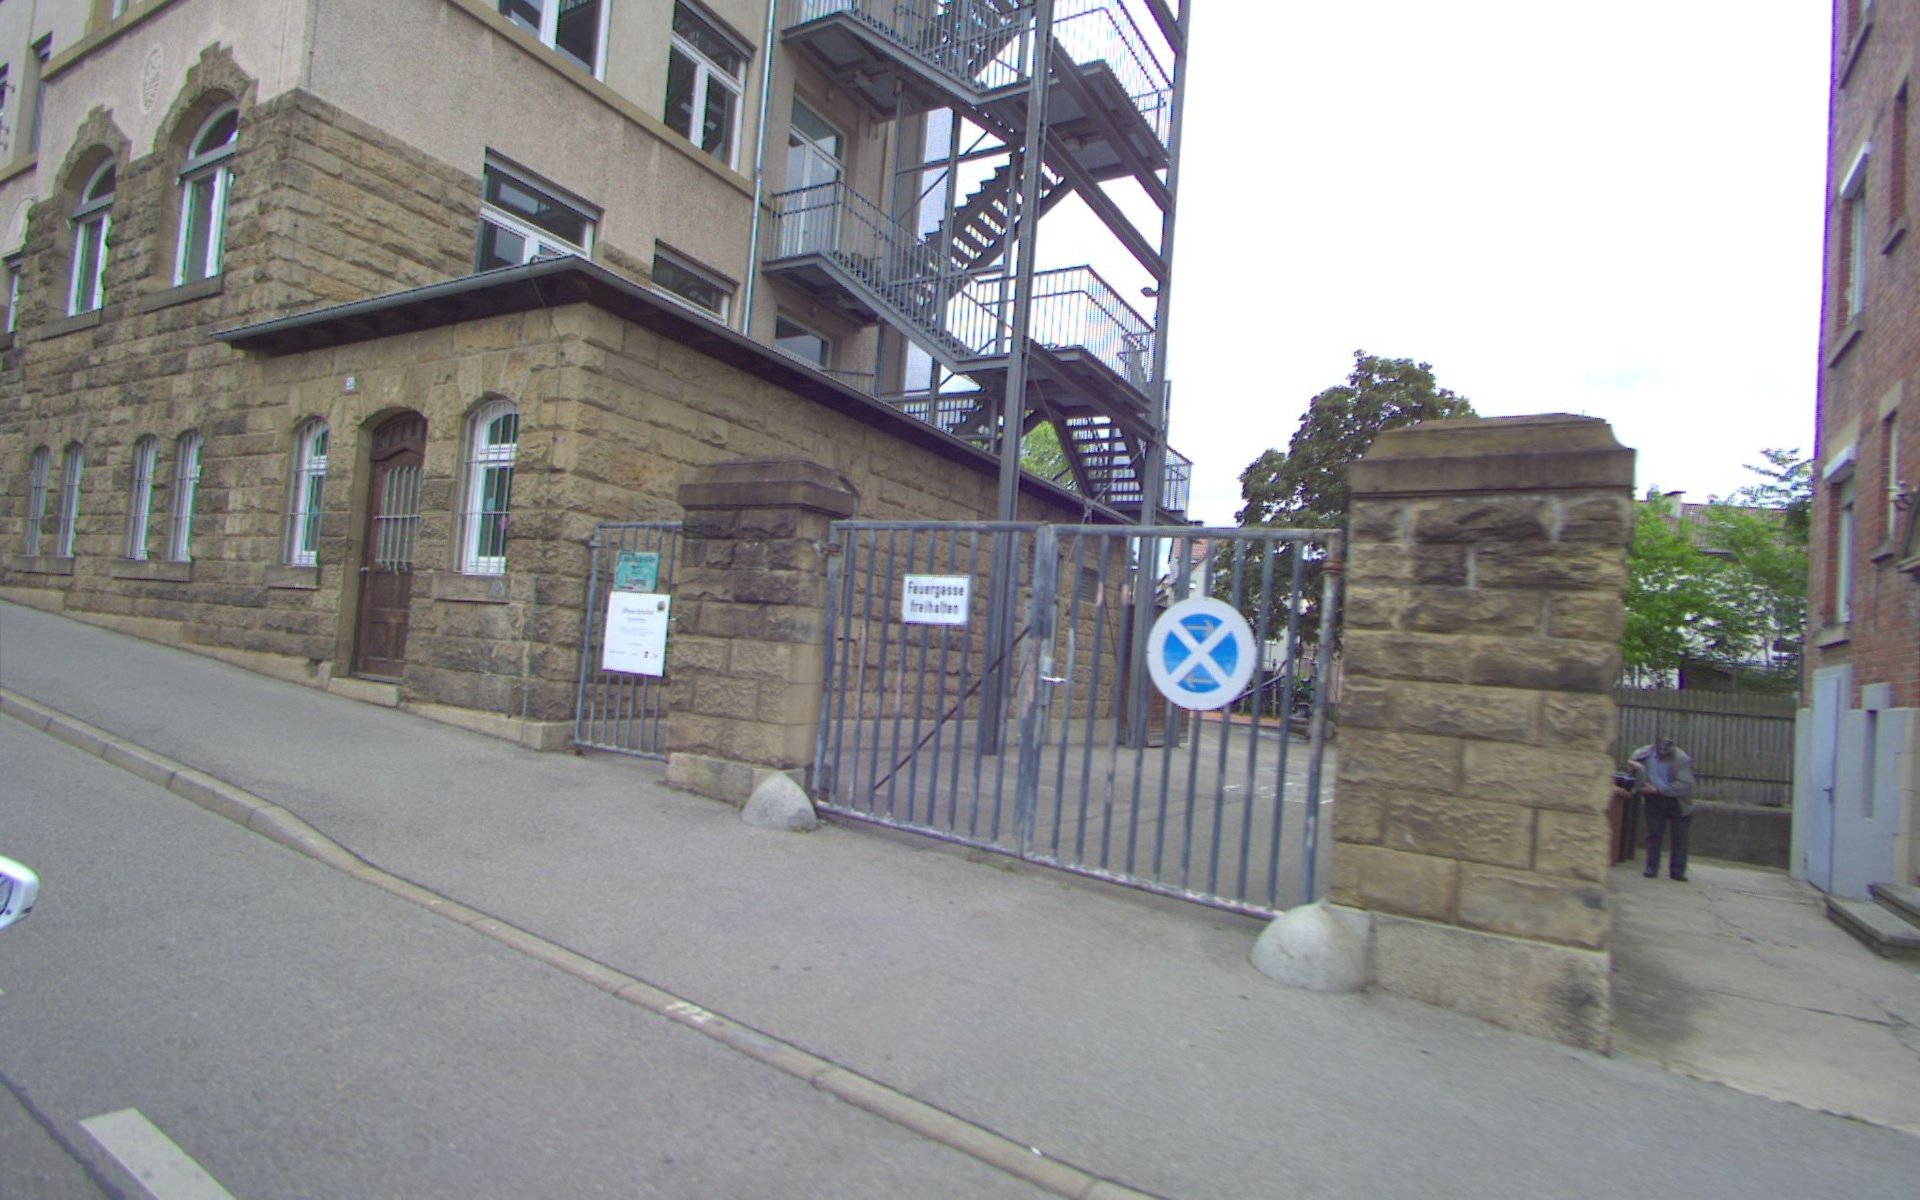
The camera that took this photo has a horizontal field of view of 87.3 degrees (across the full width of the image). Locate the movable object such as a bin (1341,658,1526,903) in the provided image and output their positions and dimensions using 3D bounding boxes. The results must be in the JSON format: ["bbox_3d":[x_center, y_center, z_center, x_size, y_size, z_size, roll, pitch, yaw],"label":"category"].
[{"bbox_3d":[3.544,1.284,7.488,0.980,1.531,1.077,7,-1,31],"label":"movable object such as a bin"}]

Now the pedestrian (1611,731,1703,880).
[{"bbox_3d":[7.540,2.201,10.903,0.634,1.460,0.501,7,-1,30],"label":"pedestrian"}]

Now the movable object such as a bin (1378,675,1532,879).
[{"bbox_3d":[4.392,1.511,8.901,0.980,1.531,1.077,7,-1,31],"label":"movable object such as a bin"}]

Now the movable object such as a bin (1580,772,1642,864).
[{"bbox_3d":[7.859,2.612,12.154,0.519,0.966,0.553,6,-2,31],"label":"movable object such as a bin"}]

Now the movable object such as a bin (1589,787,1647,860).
[{"bbox_3d":[8.221,2.779,12.584,0.519,0.767,0.496,6,-2,31],"label":"movable object such as a bin"}]
